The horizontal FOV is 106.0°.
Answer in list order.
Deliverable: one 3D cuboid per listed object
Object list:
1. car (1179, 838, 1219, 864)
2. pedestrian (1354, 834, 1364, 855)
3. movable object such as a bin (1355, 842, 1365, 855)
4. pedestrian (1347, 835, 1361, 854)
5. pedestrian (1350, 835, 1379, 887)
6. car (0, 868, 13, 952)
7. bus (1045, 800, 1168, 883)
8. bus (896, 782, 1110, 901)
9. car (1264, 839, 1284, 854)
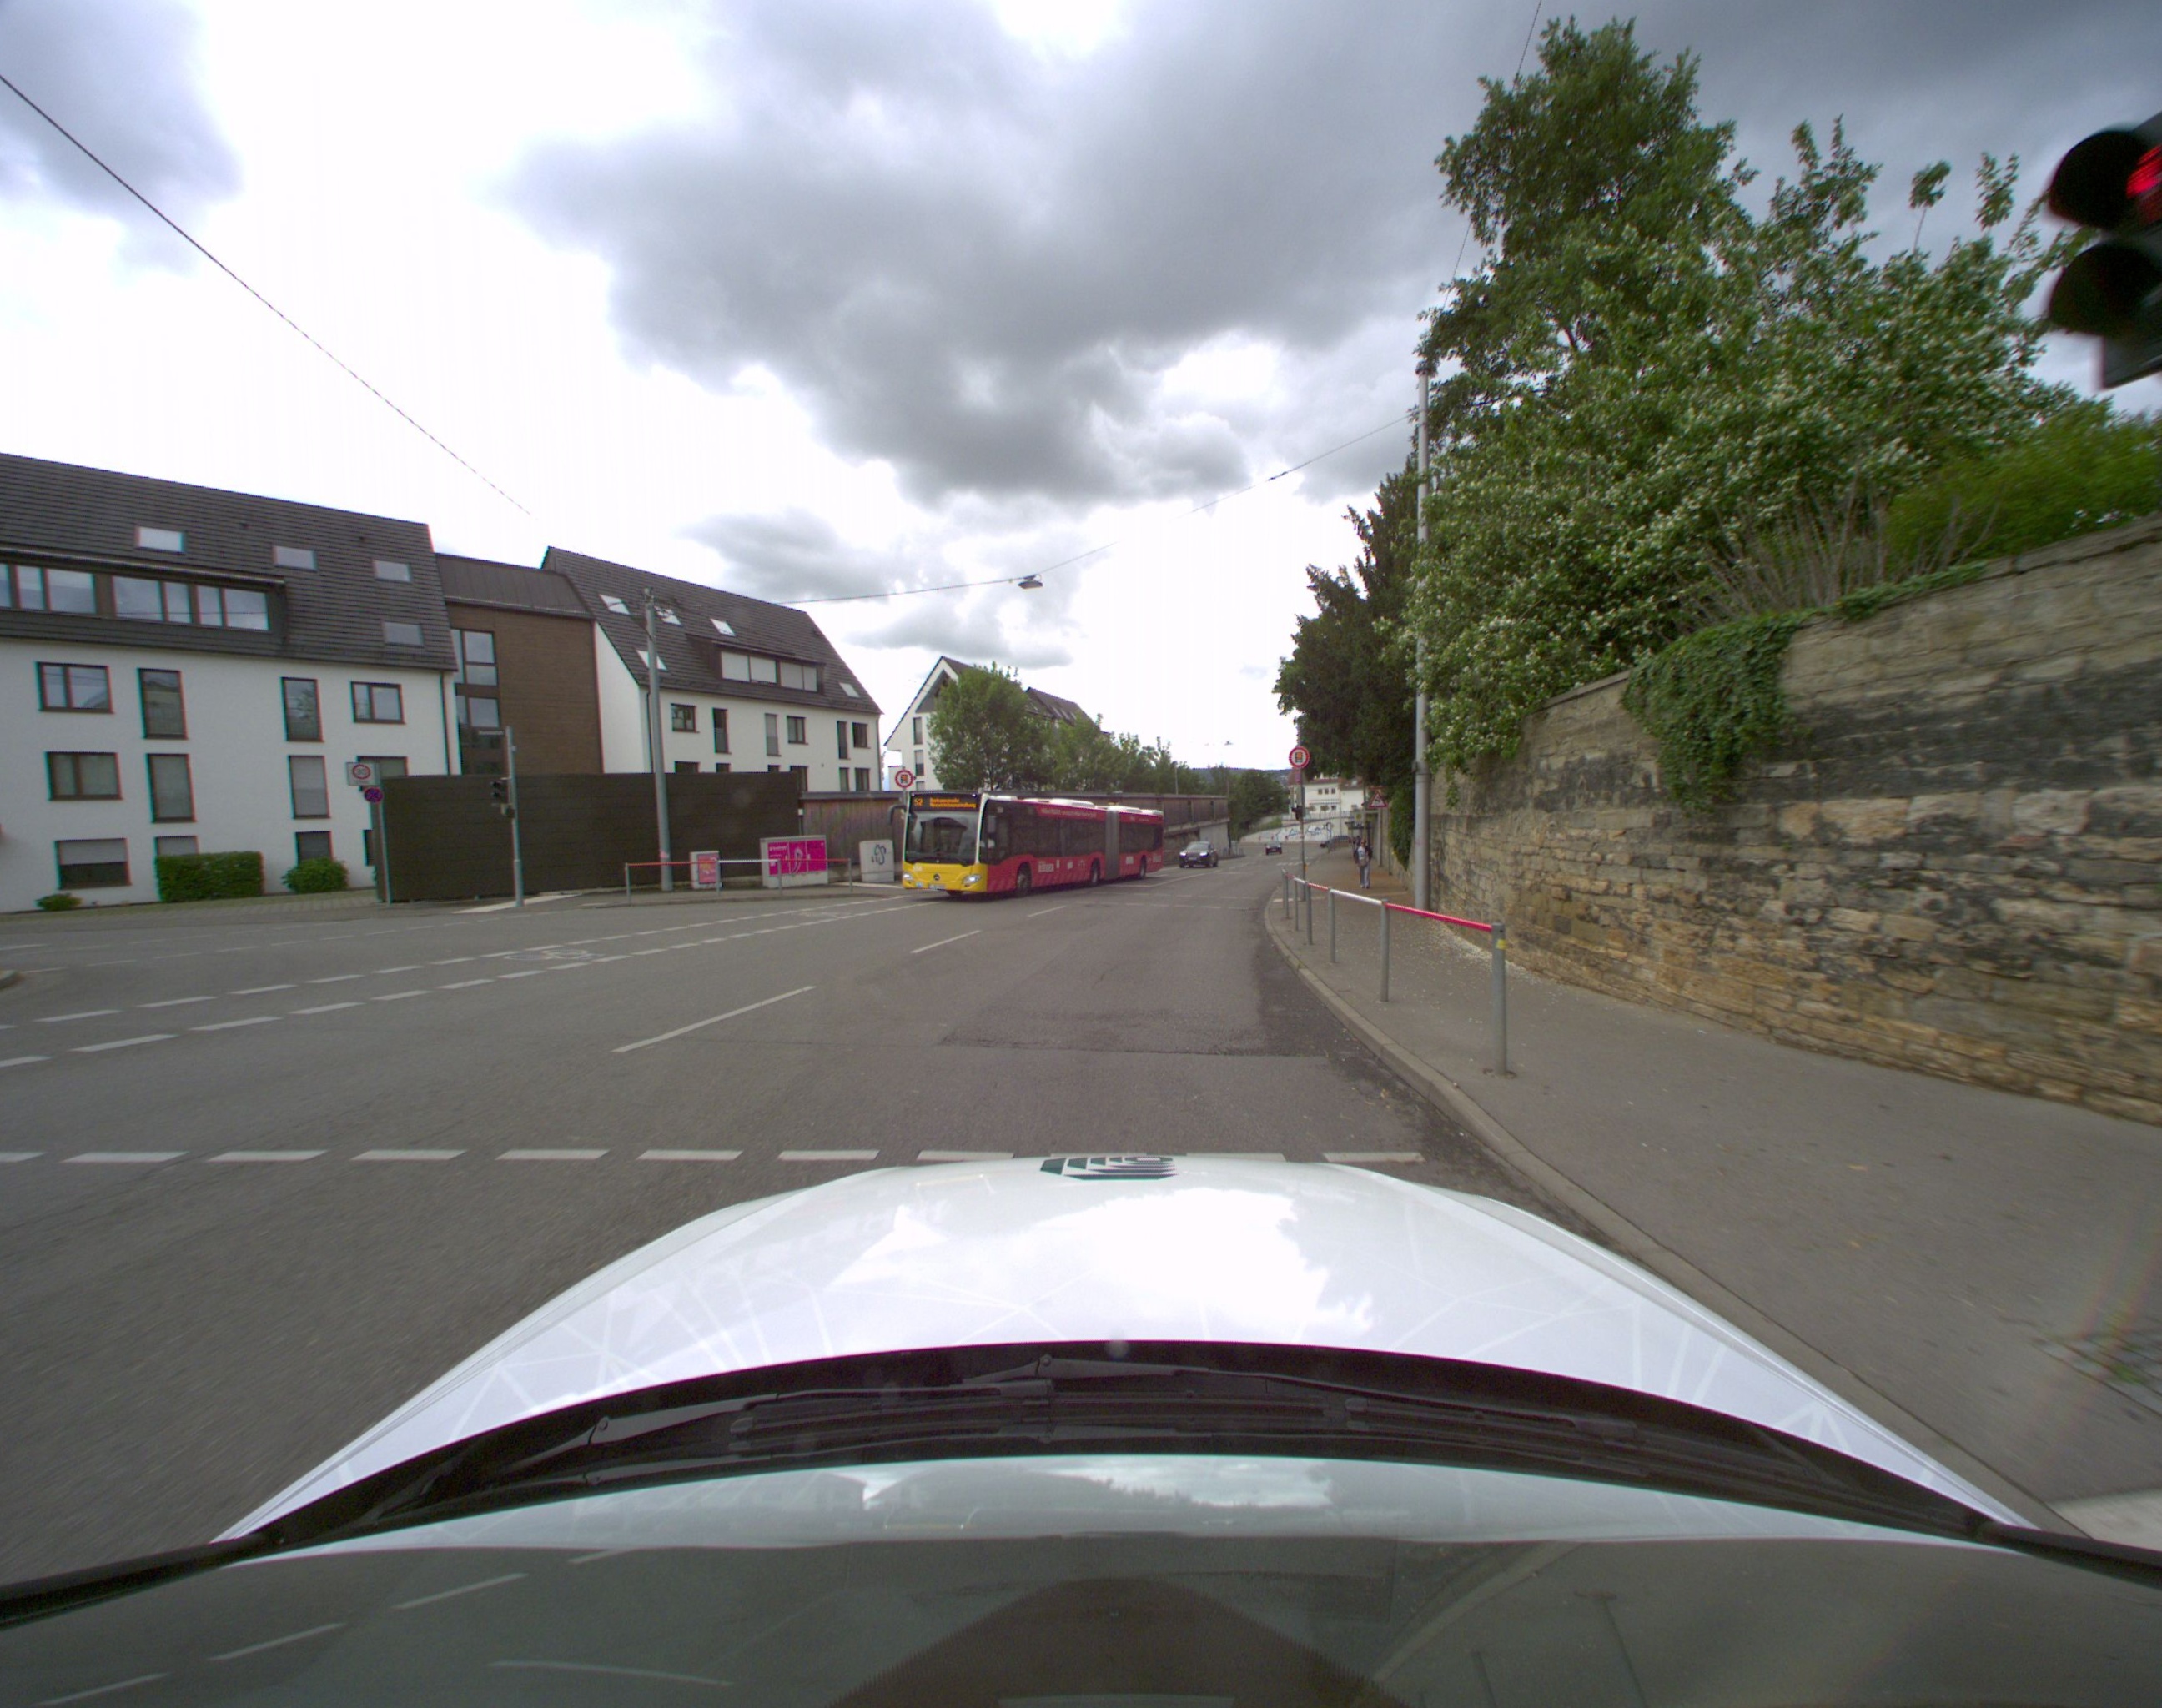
[{"bbox_3d":[7.716,-0.201,53.049,1.907,1.630,4.543,1,0,17],"label":"car"},{"bbox_3d":[22.448,-0.753,65.801,0.716,1.642,0.633,-2,0,14],"label":"pedestrian"},{"bbox_3d":[22.317,-0.439,65.096,0.669,1.020,0.629,-2,1,13],"label":"movable object such as a bin"},{"bbox_3d":[22.770,-0.796,67.991,0.776,1.587,0.730,-4,1,-30],"label":"pedestrian"},{"bbox_3d":[8.947,0.206,25.721,0.725,1.576,0.747,-3,0,15],"label":"pedestrian"},{"bbox_3d":[-21.445,1.078,13.603,4.251,1.513,1.997,-2,0,-4],"label":"car"},{"bbox_3d":[1.358,-0.564,34.961,2.635,3.121,8.336,1,1,21],"label":"bus"},{"bbox_3d":[-1.980,-0.417,26.378,2.635,3.121,10.072,1,1,21],"label":"bus"},{"bbox_3d":[23.566,-0.936,99.279,1.879,1.756,4.458,-2,0,18],"label":"car"}]
